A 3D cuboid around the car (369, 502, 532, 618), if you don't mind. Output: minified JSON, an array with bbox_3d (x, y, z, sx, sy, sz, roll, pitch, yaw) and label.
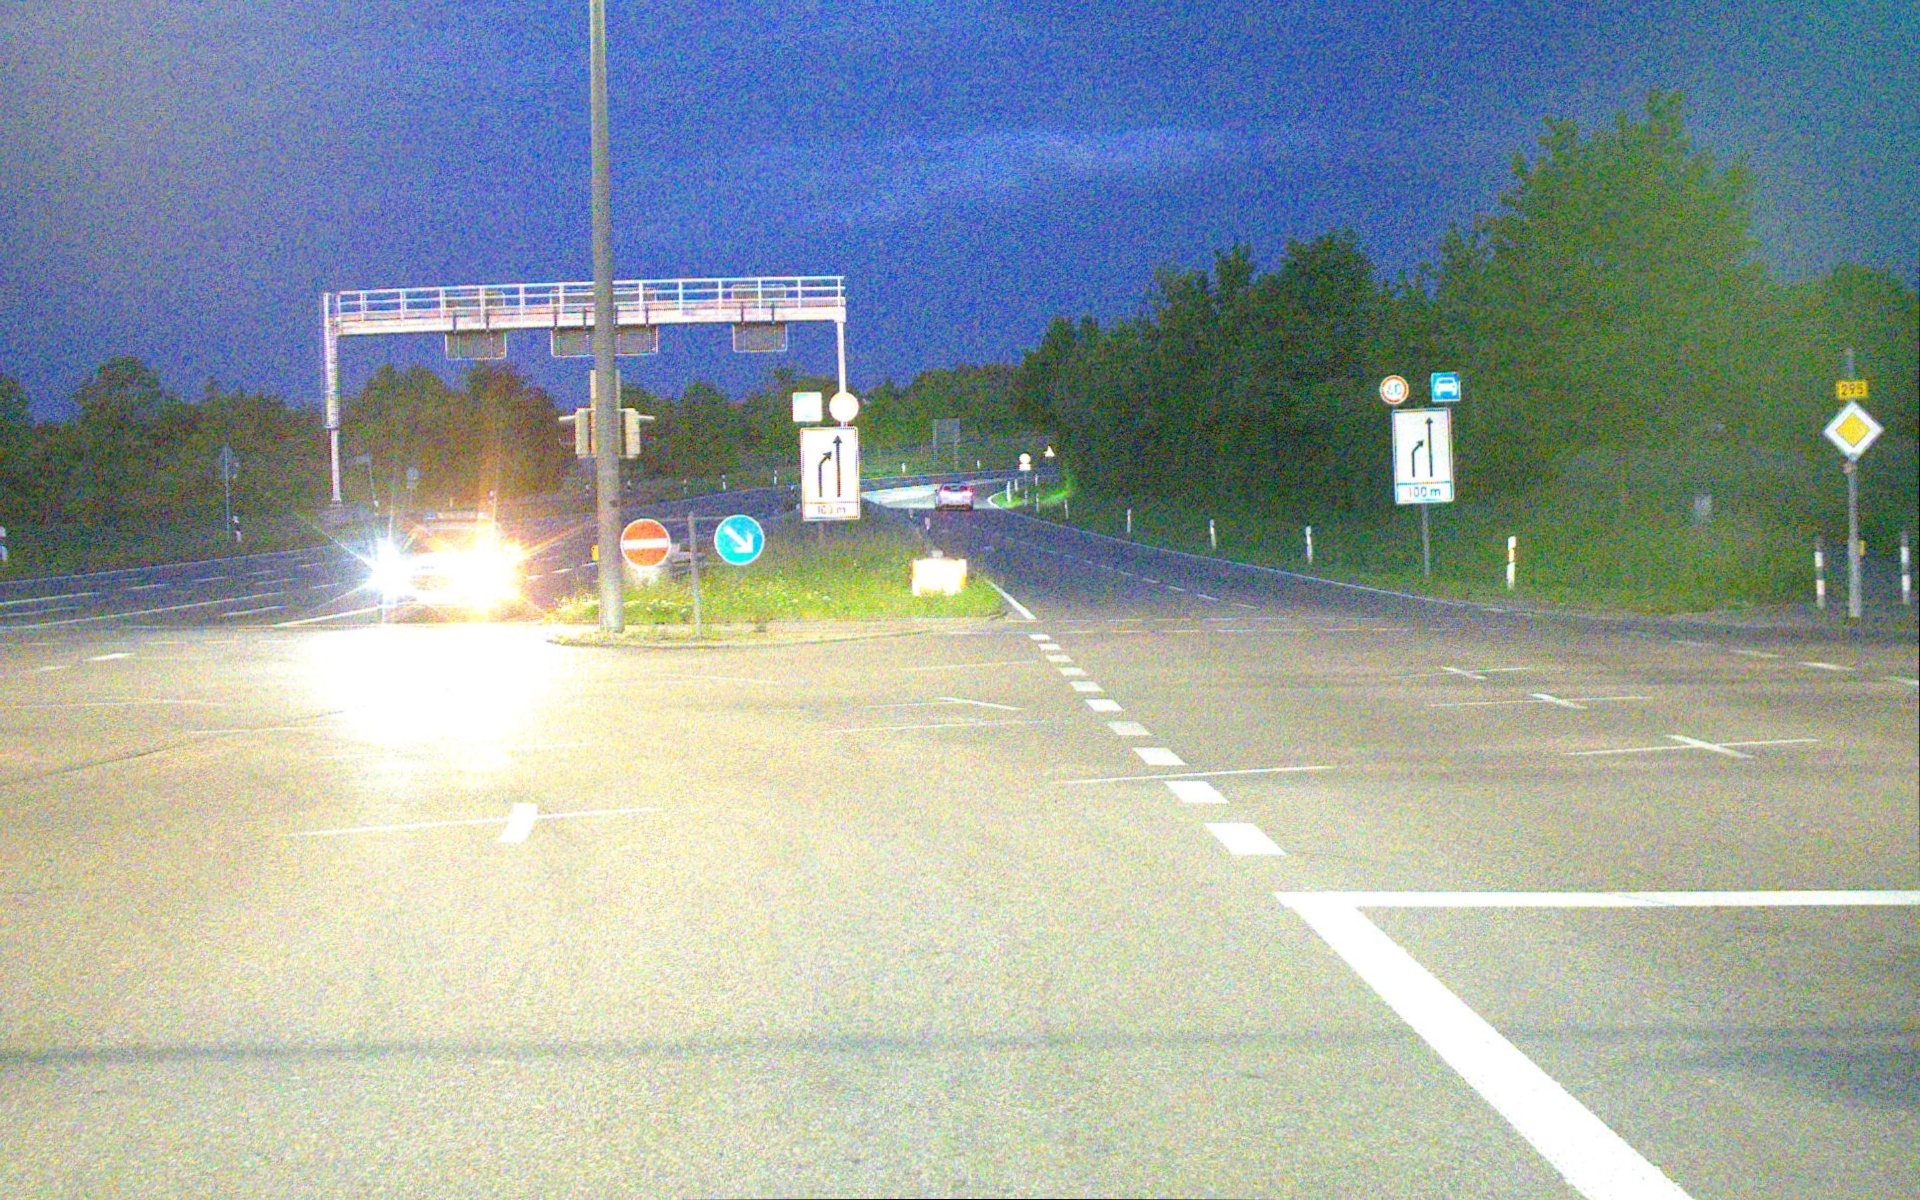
[{"bbox_3d":[-7.686,-0.639,52.178,1.993,1.692,4.001,0,2,-2],"label":"car"}]

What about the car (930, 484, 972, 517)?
[{"bbox_3d":[-0.436,-5.018,173.681,2.007,1.605,3.845,0,1,2],"label":"car"}]
